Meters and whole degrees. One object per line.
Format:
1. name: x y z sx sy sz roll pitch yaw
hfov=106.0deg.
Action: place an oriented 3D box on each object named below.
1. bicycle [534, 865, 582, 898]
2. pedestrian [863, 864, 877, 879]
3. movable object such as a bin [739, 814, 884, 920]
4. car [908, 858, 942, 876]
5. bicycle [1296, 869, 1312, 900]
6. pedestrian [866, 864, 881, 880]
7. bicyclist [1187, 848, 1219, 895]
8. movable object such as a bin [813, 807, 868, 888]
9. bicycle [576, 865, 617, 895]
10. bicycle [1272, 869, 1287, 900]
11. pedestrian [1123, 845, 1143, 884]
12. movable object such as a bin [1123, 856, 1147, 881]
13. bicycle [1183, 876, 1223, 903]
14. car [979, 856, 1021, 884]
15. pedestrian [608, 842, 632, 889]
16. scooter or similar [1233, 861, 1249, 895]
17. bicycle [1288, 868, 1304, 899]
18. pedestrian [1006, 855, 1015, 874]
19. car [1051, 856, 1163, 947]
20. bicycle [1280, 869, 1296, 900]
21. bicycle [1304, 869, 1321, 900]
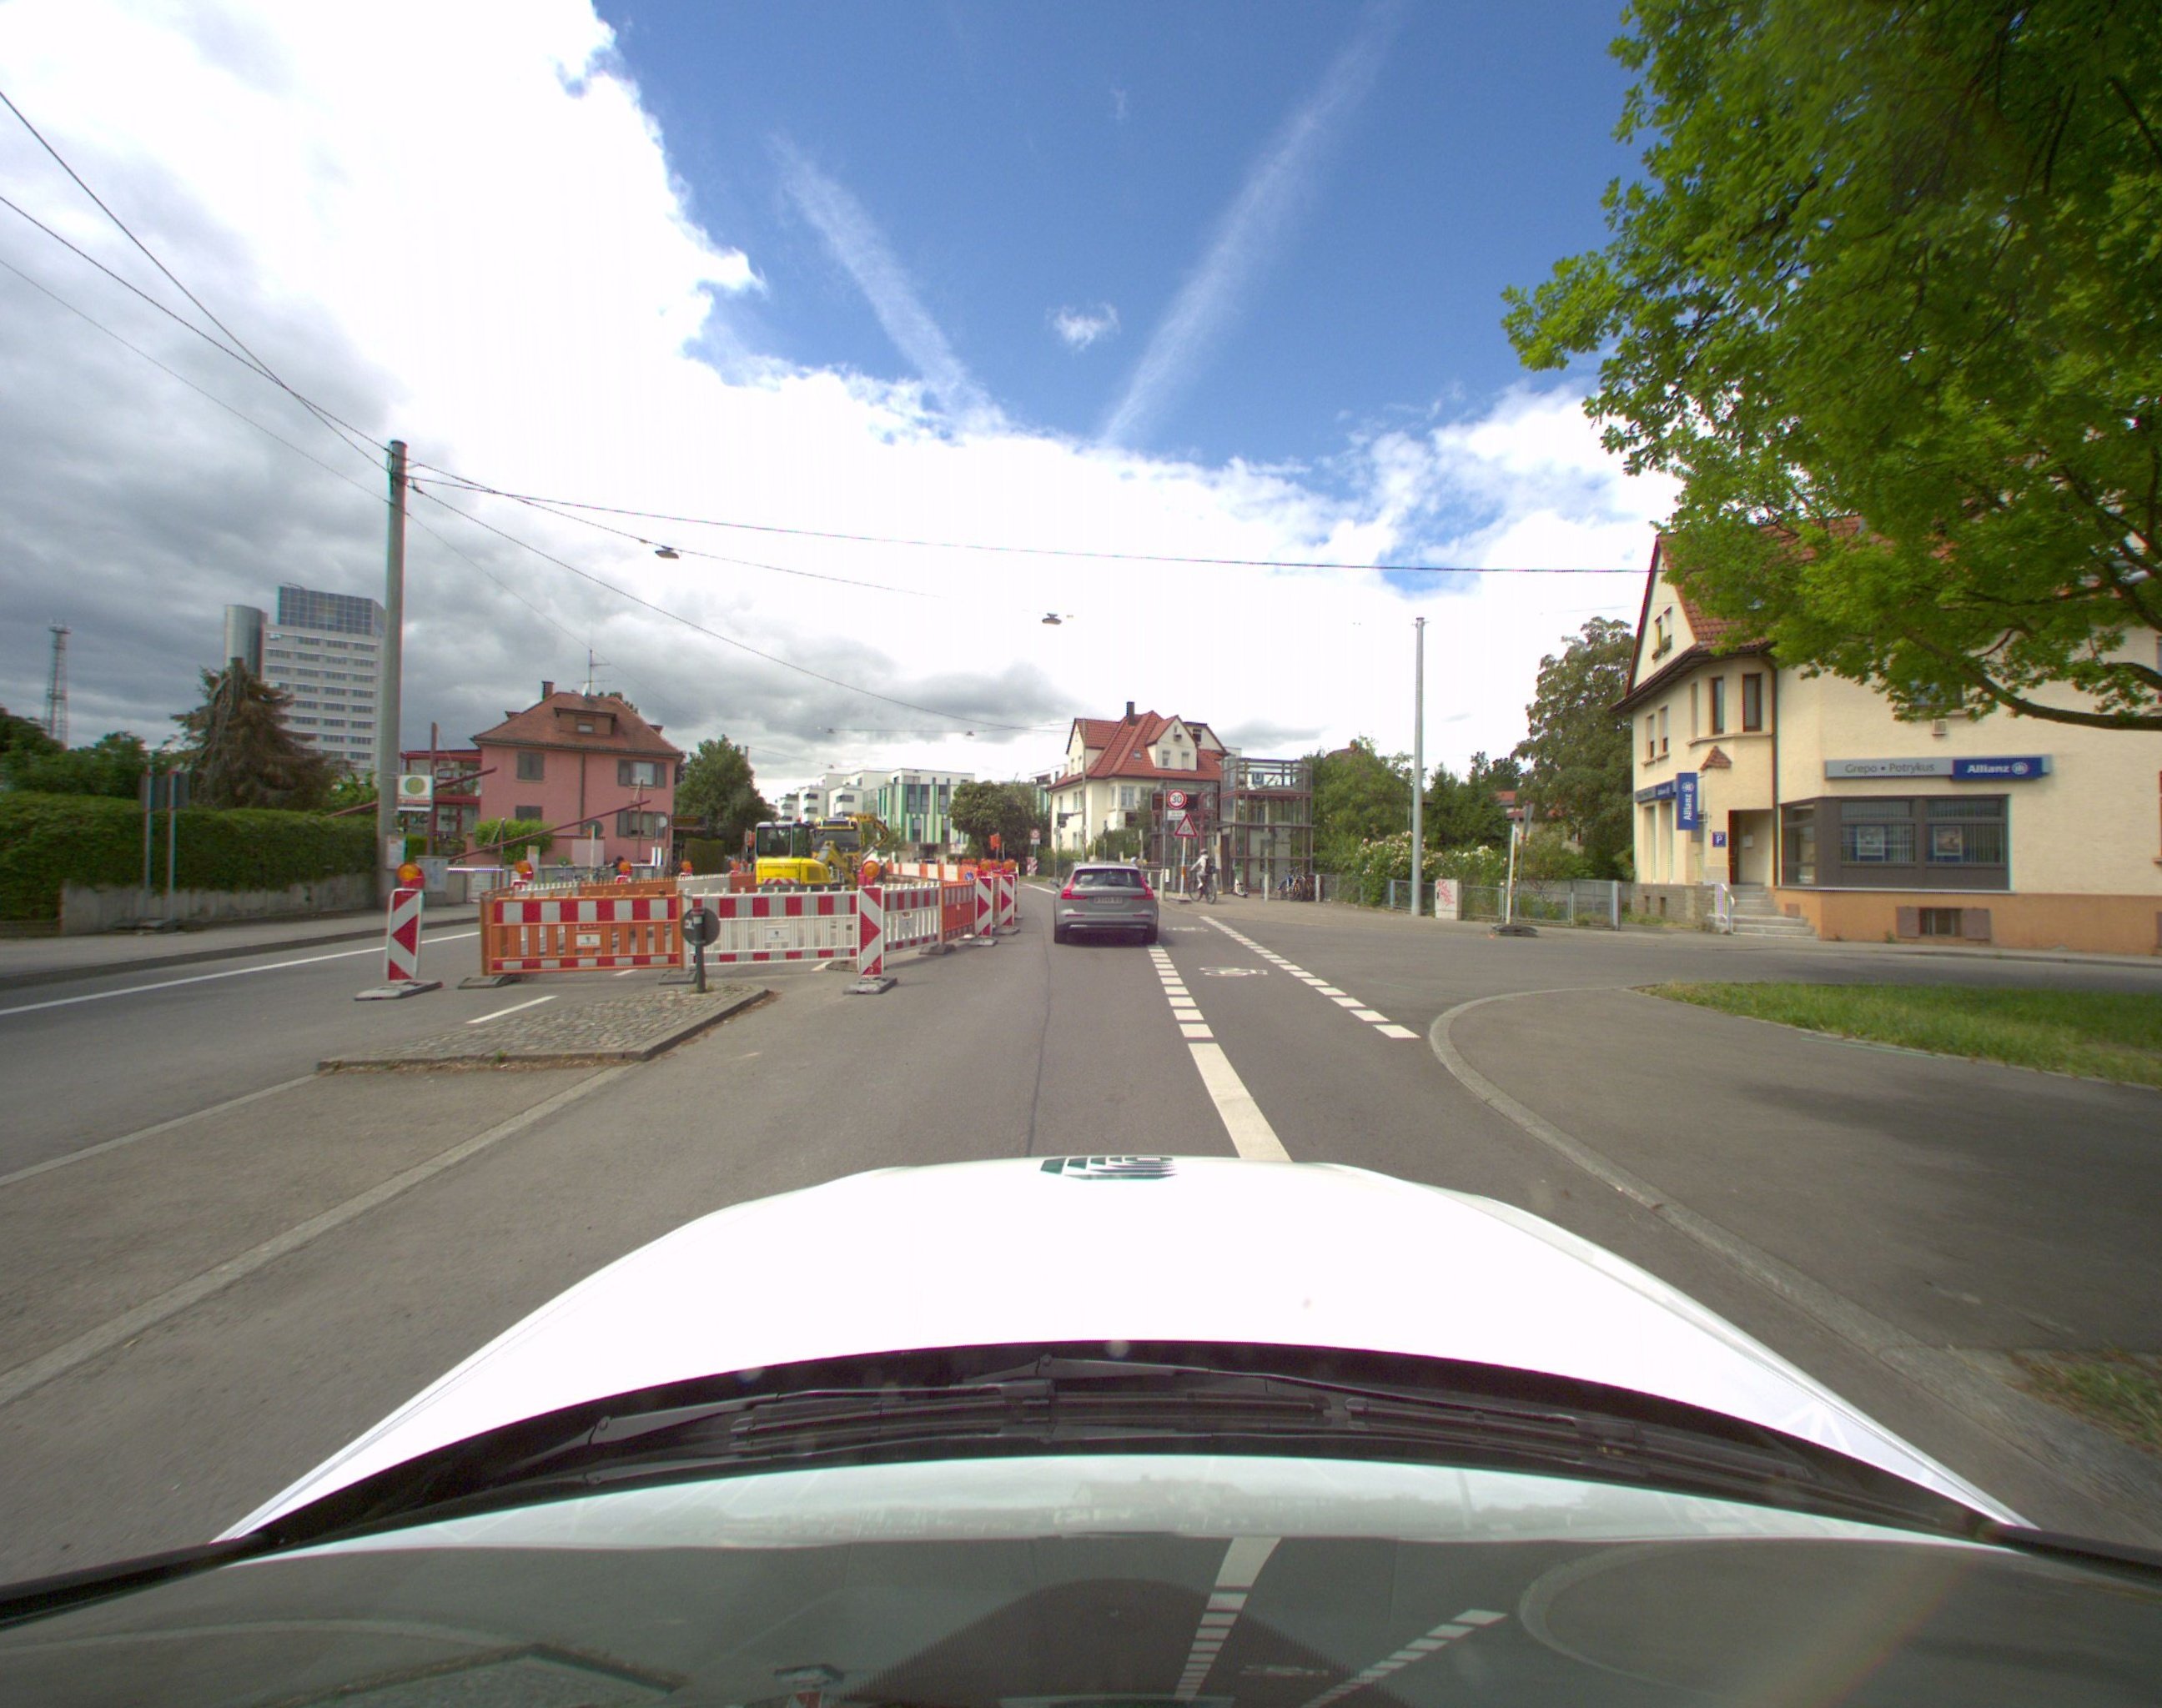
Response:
1. bicycle: -18.217 0.947 28.427 0.538 1.082 2.126 0 0 -7
2. pedestrian: -14.290 1.198 55.089 0.637 0.991 0.795 0 0 10
3. movable object such as a bin: -7.485 0.330 23.496 1.987 2.625 6.521 0 0 0
4. car: -13.757 1.111 71.734 1.855 1.513 3.965 2 -1 -27
5. bicycle: 7.488 1.001 27.379 0.215 1.008 1.189 0 0 0
6. pedestrian: -13.805 1.190 54.092 0.788 0.991 0.812 0 0 0
7. bicyclist: 3.800 0.533 25.431 0.656 1.415 1.175 1 0 -10
8. movable object such as a bin: -14.053 -0.314 48.180 2.595 4.221 11.067 0 0 -14
9. bicycle: -18.536 0.962 31.193 0.538 1.082 2.126 0 0 -7
10. bicycle: 6.678 1.019 27.367 0.215 0.989 1.204 0 0 0
11. pedestrian: 2.190 0.458 34.301 0.598 1.583 0.400 6 -4 -10
12. movable object such as a bin: 3.161 0.853 47.835 1.265 1.470 1.003 1 -1 -3
13. bicycle: 3.794 1.088 25.403 0.635 0.753 2.055 1 0 -9
14. car: -4.755 0.911 47.392 1.857 1.513 3.980 2 -1 -15
15. pedestrian: -18.664 0.469 32.982 0.679 1.886 0.583 0 -1 -10
16. scooter or similar: 5.564 0.814 28.328 0.215 1.111 0.944 0 3 -8
17. bicycle: 7.223 0.991 27.393 0.215 1.014 1.169 0 0 0
18. pedestrian: -5.622 0.845 65.034 0.632 1.540 0.522 0 -1 -1
19. car: 0.366 0.803 15.704 1.850 1.513 3.996 0 0 -3
20. bicycle: 6.958 1.014 27.364 0.215 1.001 1.207 0 0 0
21. bicycle: 7.785 1.022 27.376 0.215 1.008 1.189 0 0 0
